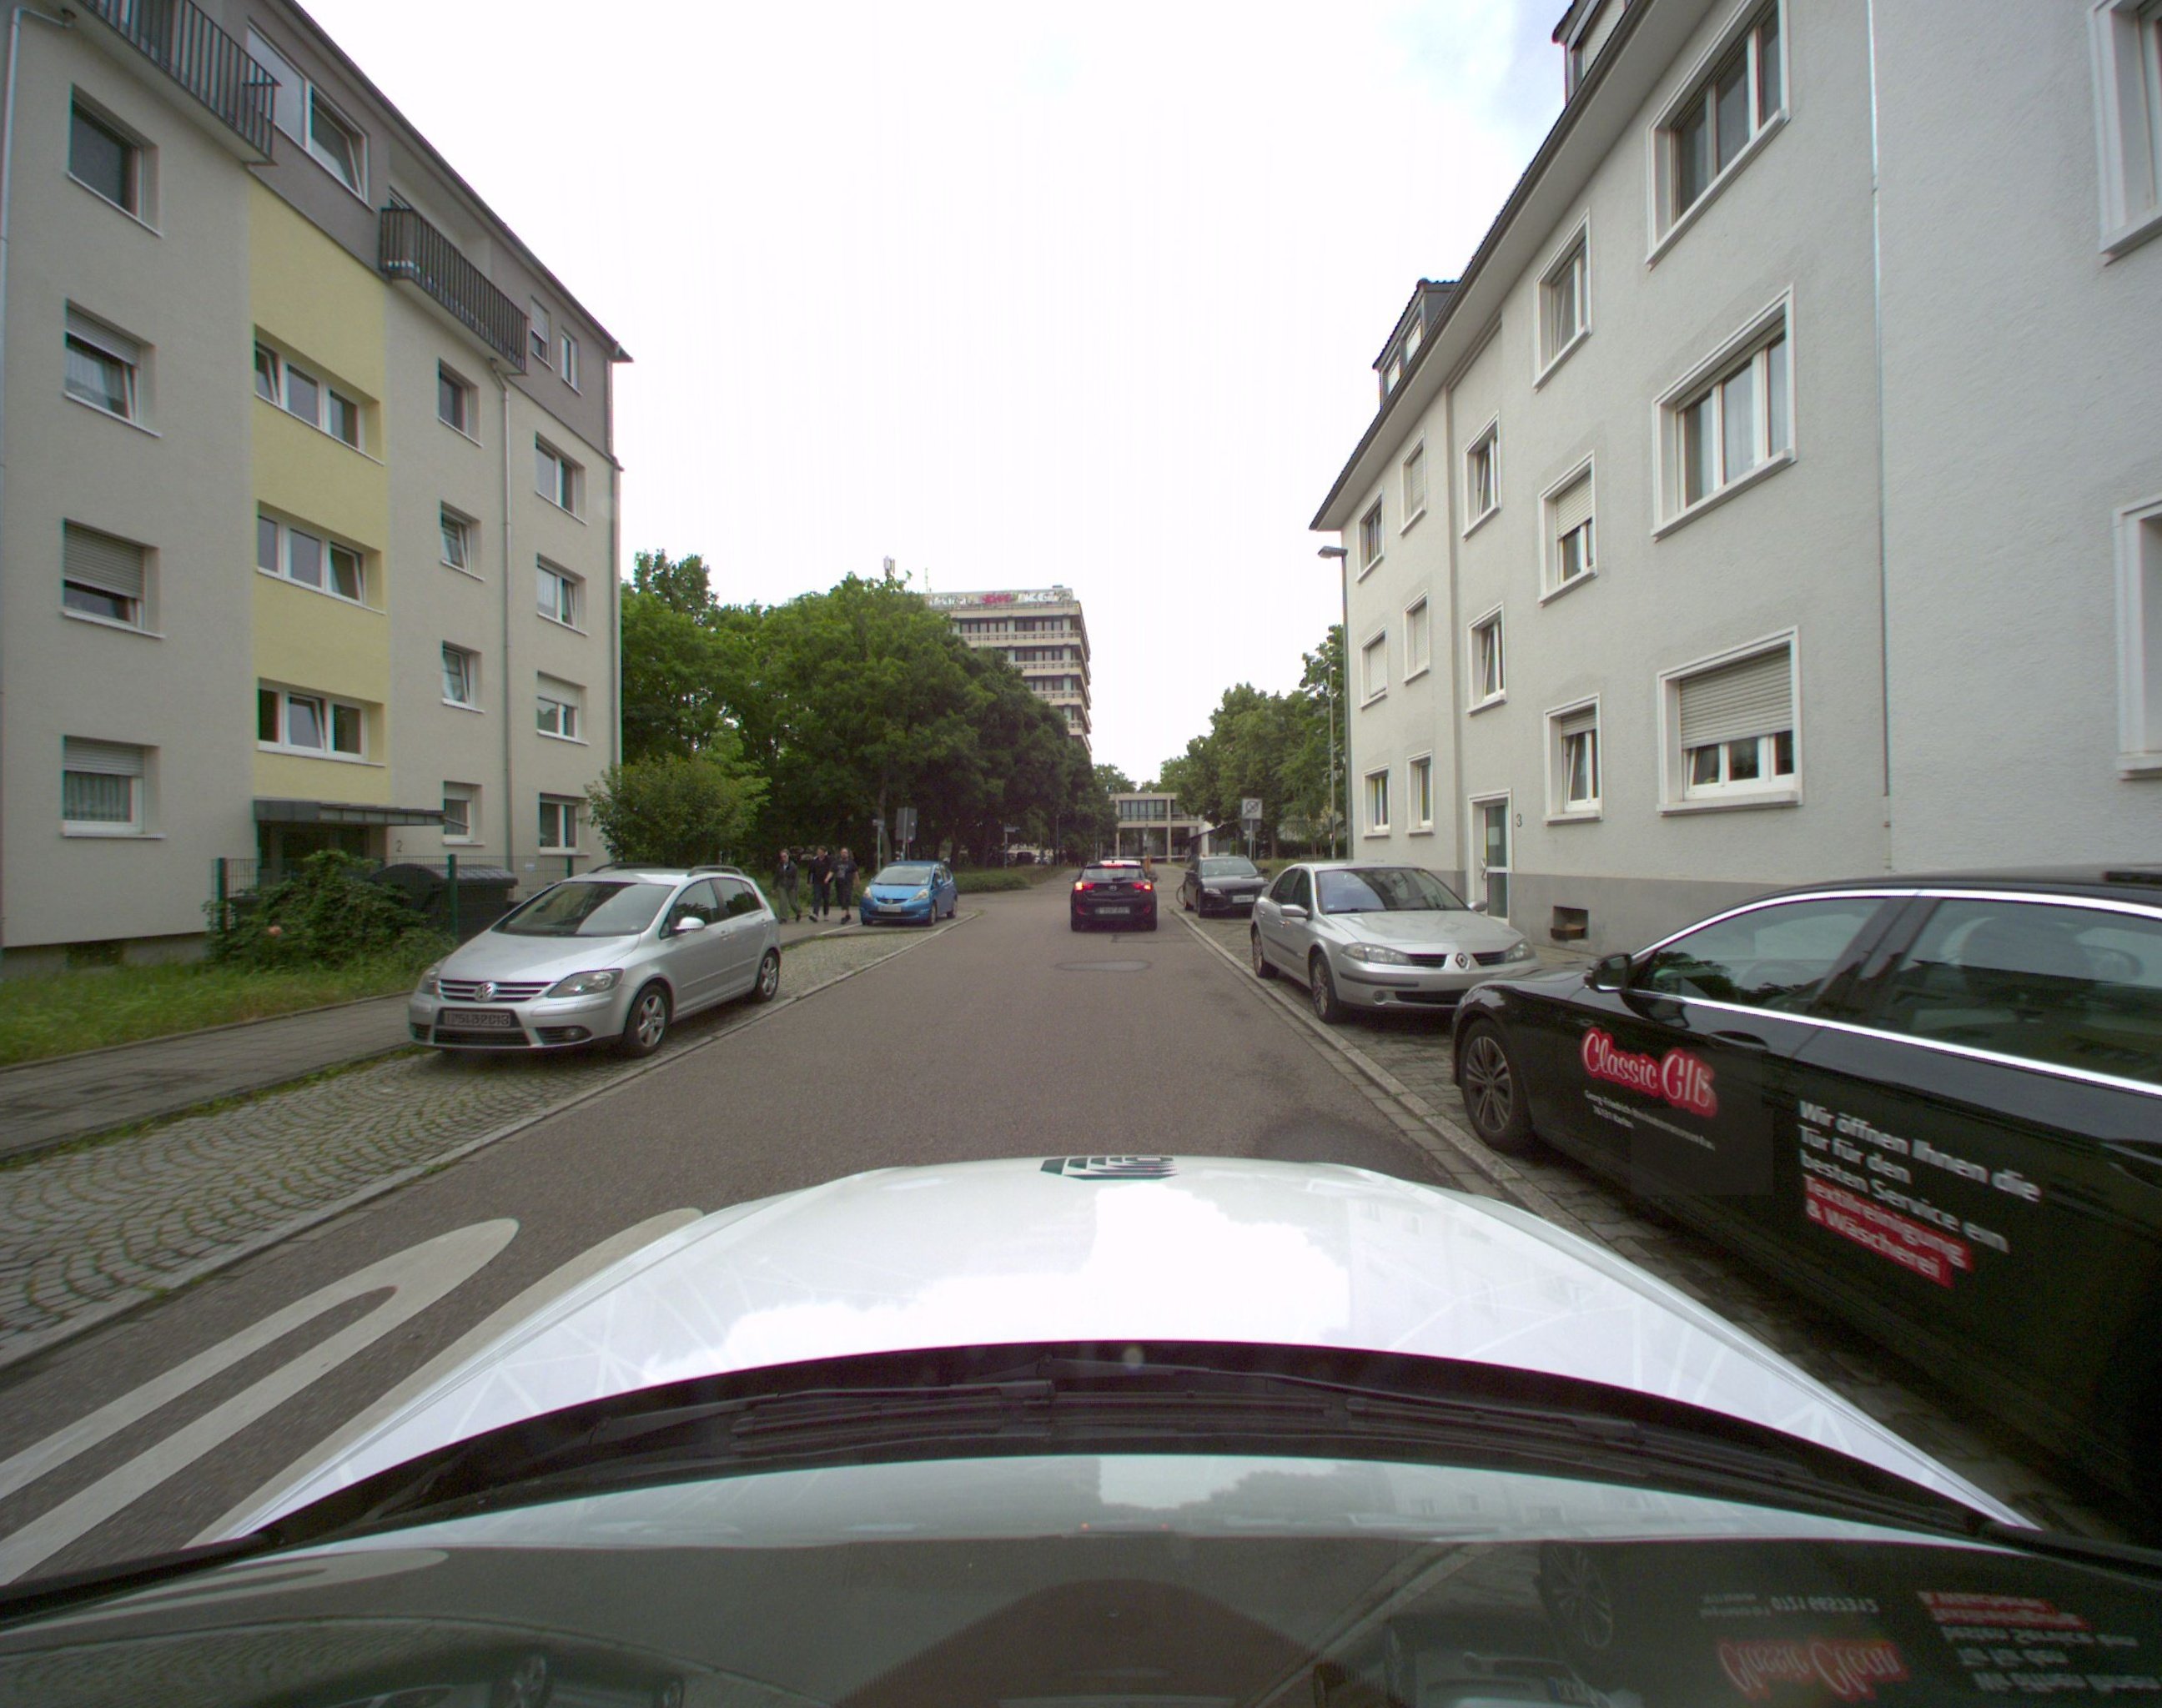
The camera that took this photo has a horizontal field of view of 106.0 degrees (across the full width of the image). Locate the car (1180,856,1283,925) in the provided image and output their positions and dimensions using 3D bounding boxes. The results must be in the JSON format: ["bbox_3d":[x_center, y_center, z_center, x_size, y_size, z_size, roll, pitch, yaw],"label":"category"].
[{"bbox_3d":[3.629,0.824,20.397,1.814,1.519,4.674,0,0,1],"label":"car"}]

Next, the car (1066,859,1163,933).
[{"bbox_3d":[0.745,0.848,18.214,1.896,1.433,4.235,-1,0,2],"label":"car"}]

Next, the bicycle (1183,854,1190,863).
[{"bbox_3d":[12.838,0.539,99.183,0.690,0.997,1.736,0,0,3],"label":"bicycle"}]

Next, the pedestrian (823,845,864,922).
[{"bbox_3d":[-5.731,0.695,19.697,0.711,1.831,0.798,0,0,3],"label":"pedestrian"}]

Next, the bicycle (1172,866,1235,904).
[{"bbox_3d":[3.881,0.982,25.833,1.920,1.163,0.692,0,0,2],"label":"bicycle"}]

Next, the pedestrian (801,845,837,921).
[{"bbox_3d":[-6.399,0.696,19.924,0.602,1.831,0.676,0,0,3],"label":"pedestrian"}]

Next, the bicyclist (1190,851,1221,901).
[{"bbox_3d":[3.950,0.688,25.829,0.895,1.552,0.694,0,0,2],"label":"bicyclist"}]

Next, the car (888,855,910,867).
[{"bbox_3d":[-20.706,0.814,92.866,1.659,1.333,3.397,0,0,2],"label":"car"}]

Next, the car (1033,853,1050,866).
[{"bbox_3d":[-4.407,0.619,92.057,1.659,1.333,3.397,0,0,2],"label":"car"}]

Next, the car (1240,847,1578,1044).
[{"bbox_3d":[3.006,0.731,8.677,1.814,1.519,4.674,0,0,1],"label":"car"}]

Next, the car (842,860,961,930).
[{"bbox_3d":[-4.335,0.928,20.329,1.986,1.541,4.001,0,0,1],"label":"car"}]

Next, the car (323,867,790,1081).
[{"bbox_3d":[-4.614,0.924,8.061,1.987,1.541,4.000,0,0,0],"label":"car"}]

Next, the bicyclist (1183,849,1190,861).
[{"bbox_3d":[12.834,0.156,99.174,0.691,1.444,0.795,0,0,1],"label":"bicyclist"}]

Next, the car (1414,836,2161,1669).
[{"bbox_3d":[2.893,0.718,2.603,1.814,1.519,4.674,-1,0,1],"label":"car"}]

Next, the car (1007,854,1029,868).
[{"bbox_3d":[-6.061,0.641,78.647,1.659,1.333,3.397,0,0,2],"label":"car"}]

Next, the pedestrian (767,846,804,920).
[{"bbox_3d":[-6.938,0.669,19.167,0.598,1.713,0.649,0,0,3],"label":"pedestrian"}]

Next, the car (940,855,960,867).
[{"bbox_3d":[-14.815,0.778,92.400,1.659,1.333,3.397,0,0,2],"label":"car"}]
